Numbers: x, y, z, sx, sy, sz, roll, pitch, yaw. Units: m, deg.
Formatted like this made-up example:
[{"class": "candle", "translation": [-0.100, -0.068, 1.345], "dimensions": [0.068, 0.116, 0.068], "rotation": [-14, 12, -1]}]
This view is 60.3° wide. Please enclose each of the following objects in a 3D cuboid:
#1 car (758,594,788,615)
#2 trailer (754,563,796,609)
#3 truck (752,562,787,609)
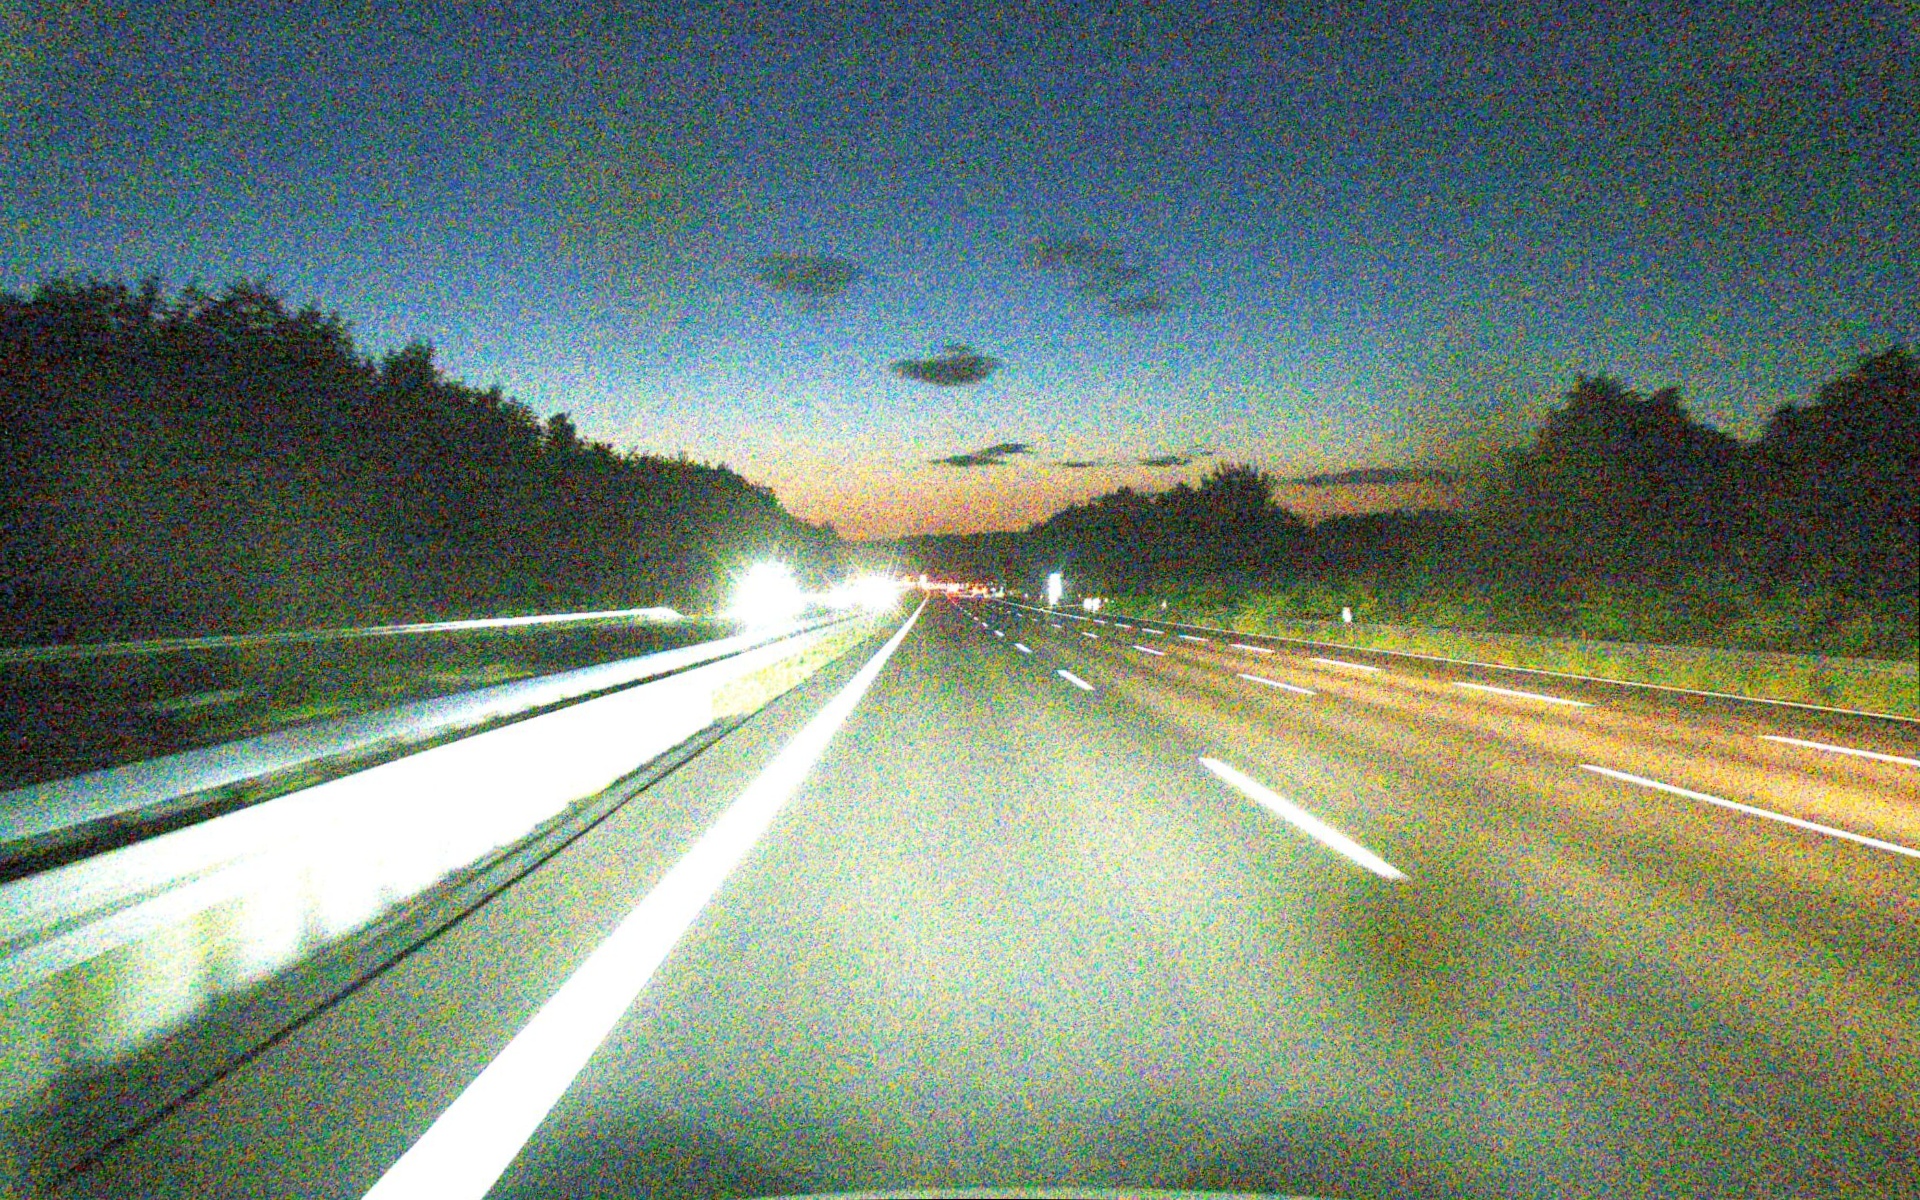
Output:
[{"class": "car", "translation": [-14.046, 0.354, 124.207], "dimensions": [1.954, 1.486, 4.689], "rotation": [-2, 0, -4]}, {"class": "trailer", "translation": [-18.078, -1.326, 162.440], "dimensions": [2.802, 4.249, 13.901], "rotation": [-2, 0, -1]}, {"class": "truck", "translation": [-17.865, -1.343, 155.402], "dimensions": [2.698, 4.285, 5.824], "rotation": [-2, 0, -2]}]
